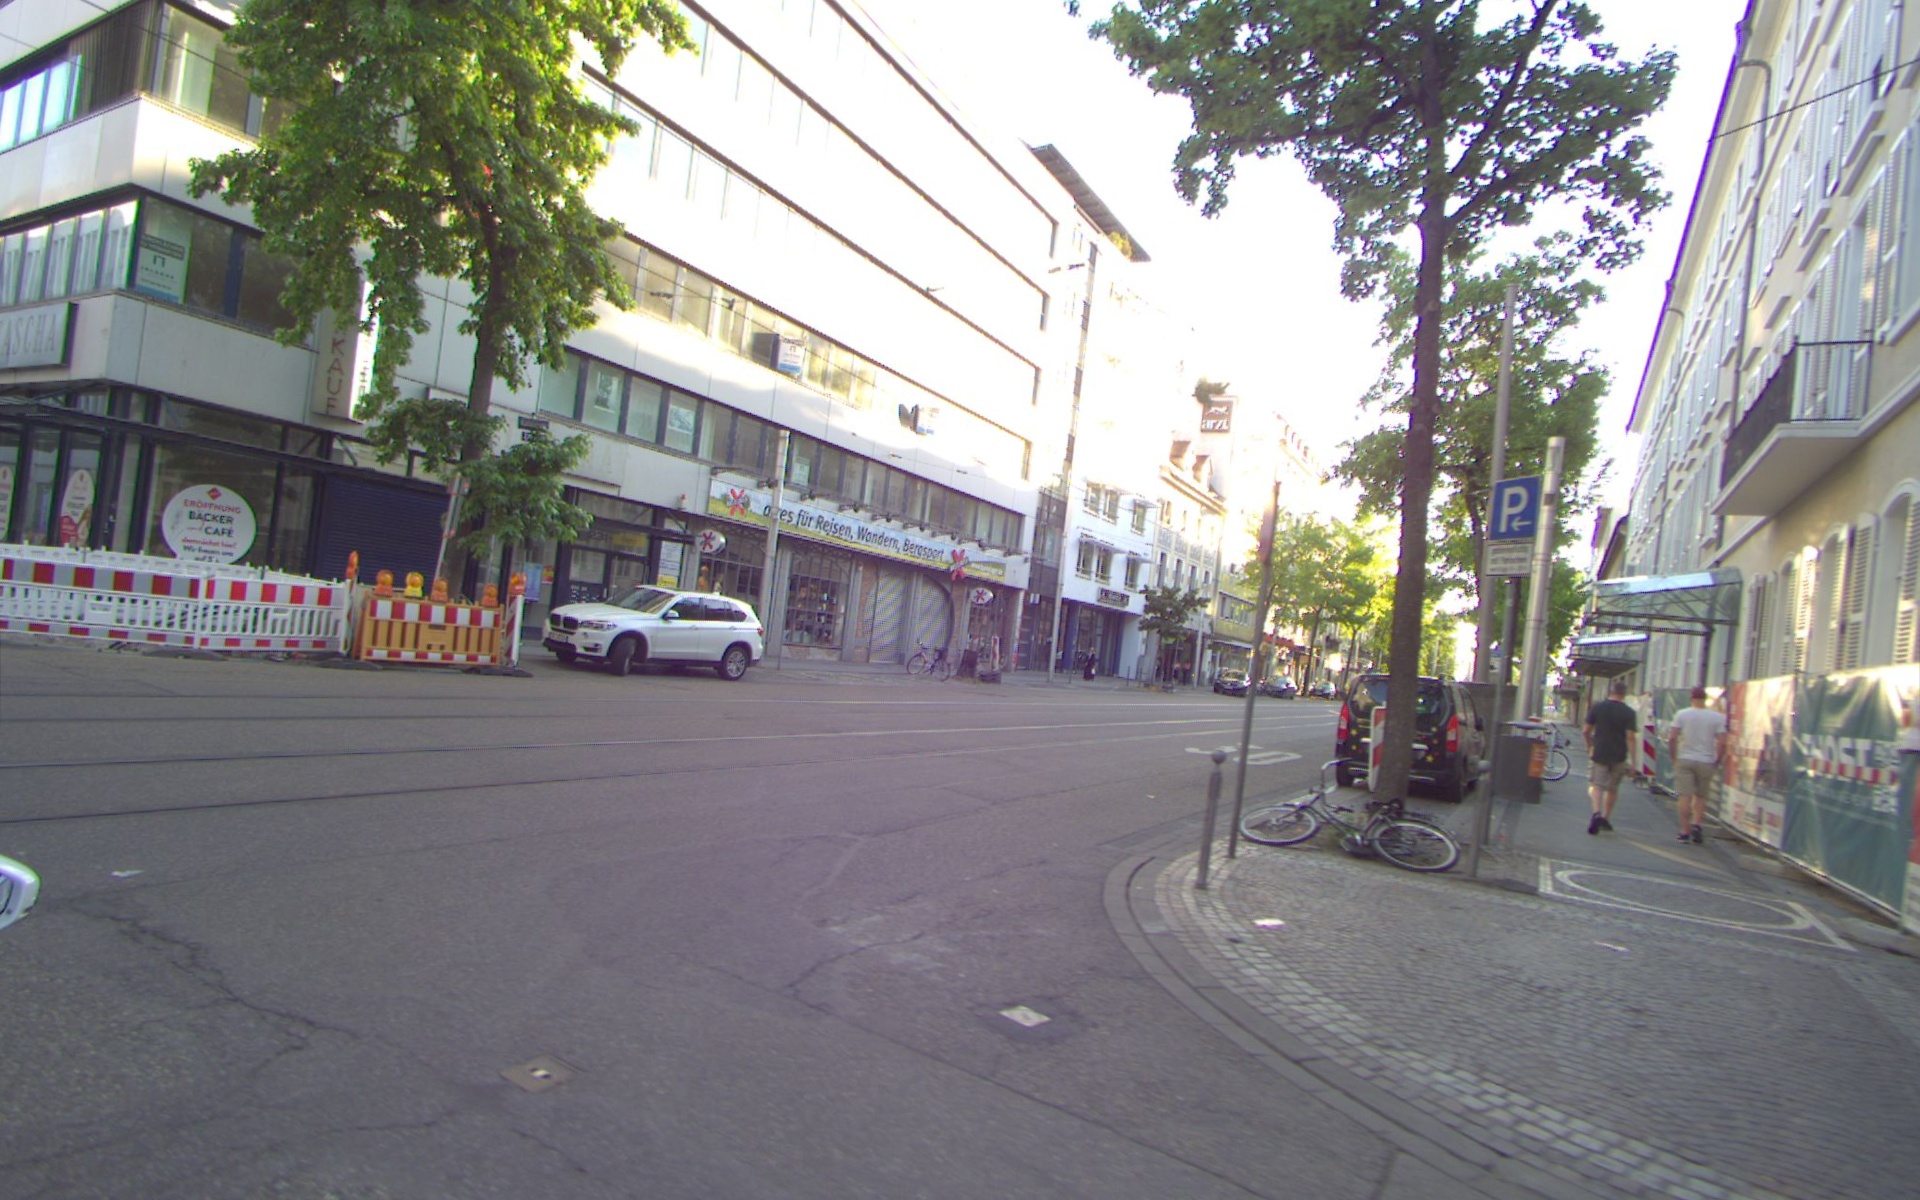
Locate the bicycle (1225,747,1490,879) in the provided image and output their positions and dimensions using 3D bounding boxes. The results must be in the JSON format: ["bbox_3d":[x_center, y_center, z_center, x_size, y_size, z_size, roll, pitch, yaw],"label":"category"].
[{"bbox_3d":[3.587,1.865,9.135,2.040,0.714,1.330,5,-2,25],"label":"bicycle"}]

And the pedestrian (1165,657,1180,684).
[{"bbox_3d":[12.824,4.246,60.678,0.470,1.566,0.746,6,0,31],"label":"pedestrian"}]

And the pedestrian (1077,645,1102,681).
[{"bbox_3d":[6.068,2.941,47.044,0.718,1.577,0.837,7,0,33],"label":"pedestrian"}]

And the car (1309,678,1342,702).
[{"bbox_3d":[29.863,7.340,82.144,1.871,1.712,4.102,6,-2,28],"label":"car"}]

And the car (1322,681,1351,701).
[{"bbox_3d":[32.539,7.839,86.839,1.659,1.497,3.843,6,-2,29],"label":"car"}]

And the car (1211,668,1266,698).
[{"bbox_3d":[16.307,4.870,58.846,1.970,1.378,4.100,8,-1,31],"label":"car"}]

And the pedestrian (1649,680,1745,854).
[{"bbox_3d":[8.776,1.948,12.013,0.747,1.907,0.878,4,-2,32],"label":"pedestrian"}]

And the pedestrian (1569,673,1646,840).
[{"bbox_3d":[7.914,1.888,12.328,0.669,1.907,0.768,4,-2,32],"label":"pedestrian"}]

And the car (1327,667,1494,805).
[{"bbox_3d":[7.294,2.109,16.076,1.746,1.784,3.869,3,-4,34],"label":"car"}]

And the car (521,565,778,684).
[{"bbox_3d":[-6.149,0.579,20.509,1.967,1.791,4.662,9,-1,33],"label":"car"}]

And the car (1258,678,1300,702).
[{"bbox_3d":[21.321,6.027,67.180,1.710,1.335,4.101,8,-1,30],"label":"car"}]

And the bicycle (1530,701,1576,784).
[{"bbox_3d":[12.394,2.943,21.044,0.692,1.568,2.182,4,-3,30],"label":"bicycle"}]

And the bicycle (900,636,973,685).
[{"bbox_3d":[-0.732,1.844,30.916,2.133,1.173,0.758,9,1,37],"label":"bicycle"}]

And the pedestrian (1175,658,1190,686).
[{"bbox_3d":[13.339,4.309,60.276,0.470,1.575,0.746,7,0,31],"label":"pedestrian"}]
